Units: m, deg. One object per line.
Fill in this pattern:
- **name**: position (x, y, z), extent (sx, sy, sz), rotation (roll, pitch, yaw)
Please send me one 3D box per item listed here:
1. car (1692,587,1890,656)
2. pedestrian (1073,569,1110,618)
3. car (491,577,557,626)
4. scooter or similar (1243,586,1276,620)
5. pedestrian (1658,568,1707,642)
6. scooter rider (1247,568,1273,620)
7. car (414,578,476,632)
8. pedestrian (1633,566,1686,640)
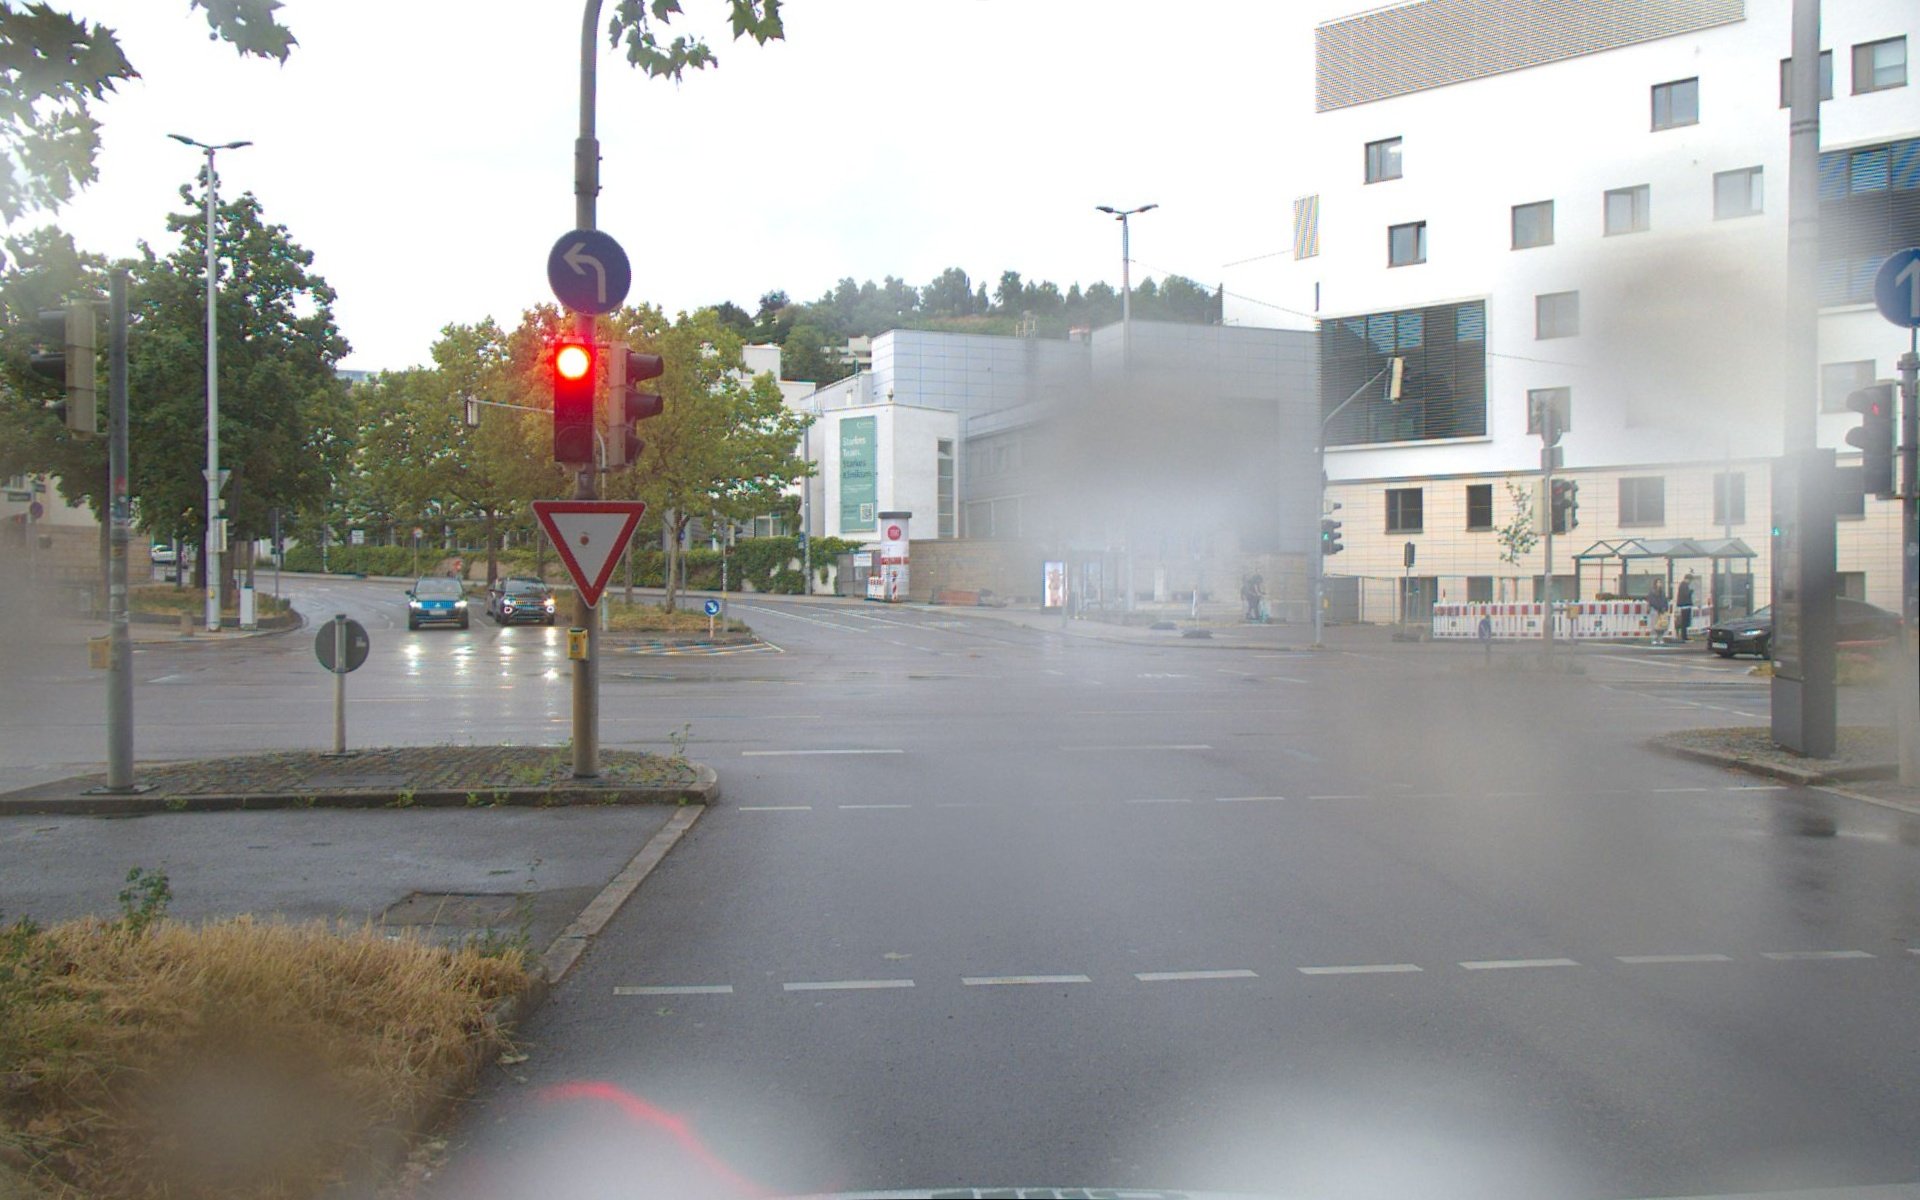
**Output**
- **car**: position (19.270, 0.493, 38.383), extent (3.921, 1.469, 1.790), rotation (2, 0, -16)
- **pedestrian**: position (4.912, -0.232, 61.724), extent (1.232, 1.749, 1.016), rotation (1, -1, -2)
- **car**: position (-15.184, 0.013, 57.486), extent (1.764, 1.612, 3.973), rotation (0, 1, -22)
- **scooter or similar**: position (11.156, 0.116, 61.556), extent (0.582, 1.260, 1.305), rotation (2, -1, -22)
- **pedestrian**: position (19.504, 0.137, 44.672), extent (0.980, 1.969, 0.955), rotation (1, -1, 9)
- **scooter rider**: position (11.168, -0.212, 61.554), extent (0.713, 1.916, 0.628), rotation (2, -1, -21)
- **car**: position (-16.663, 0.137, 53.516), extent (1.839, 1.591, 4.255), rotation (-1, 2, -18)
- **pedestrian**: position (18.007, 0.078, 42.596), extent (0.934, 1.872, 0.821), rotation (2, -1, -12)
